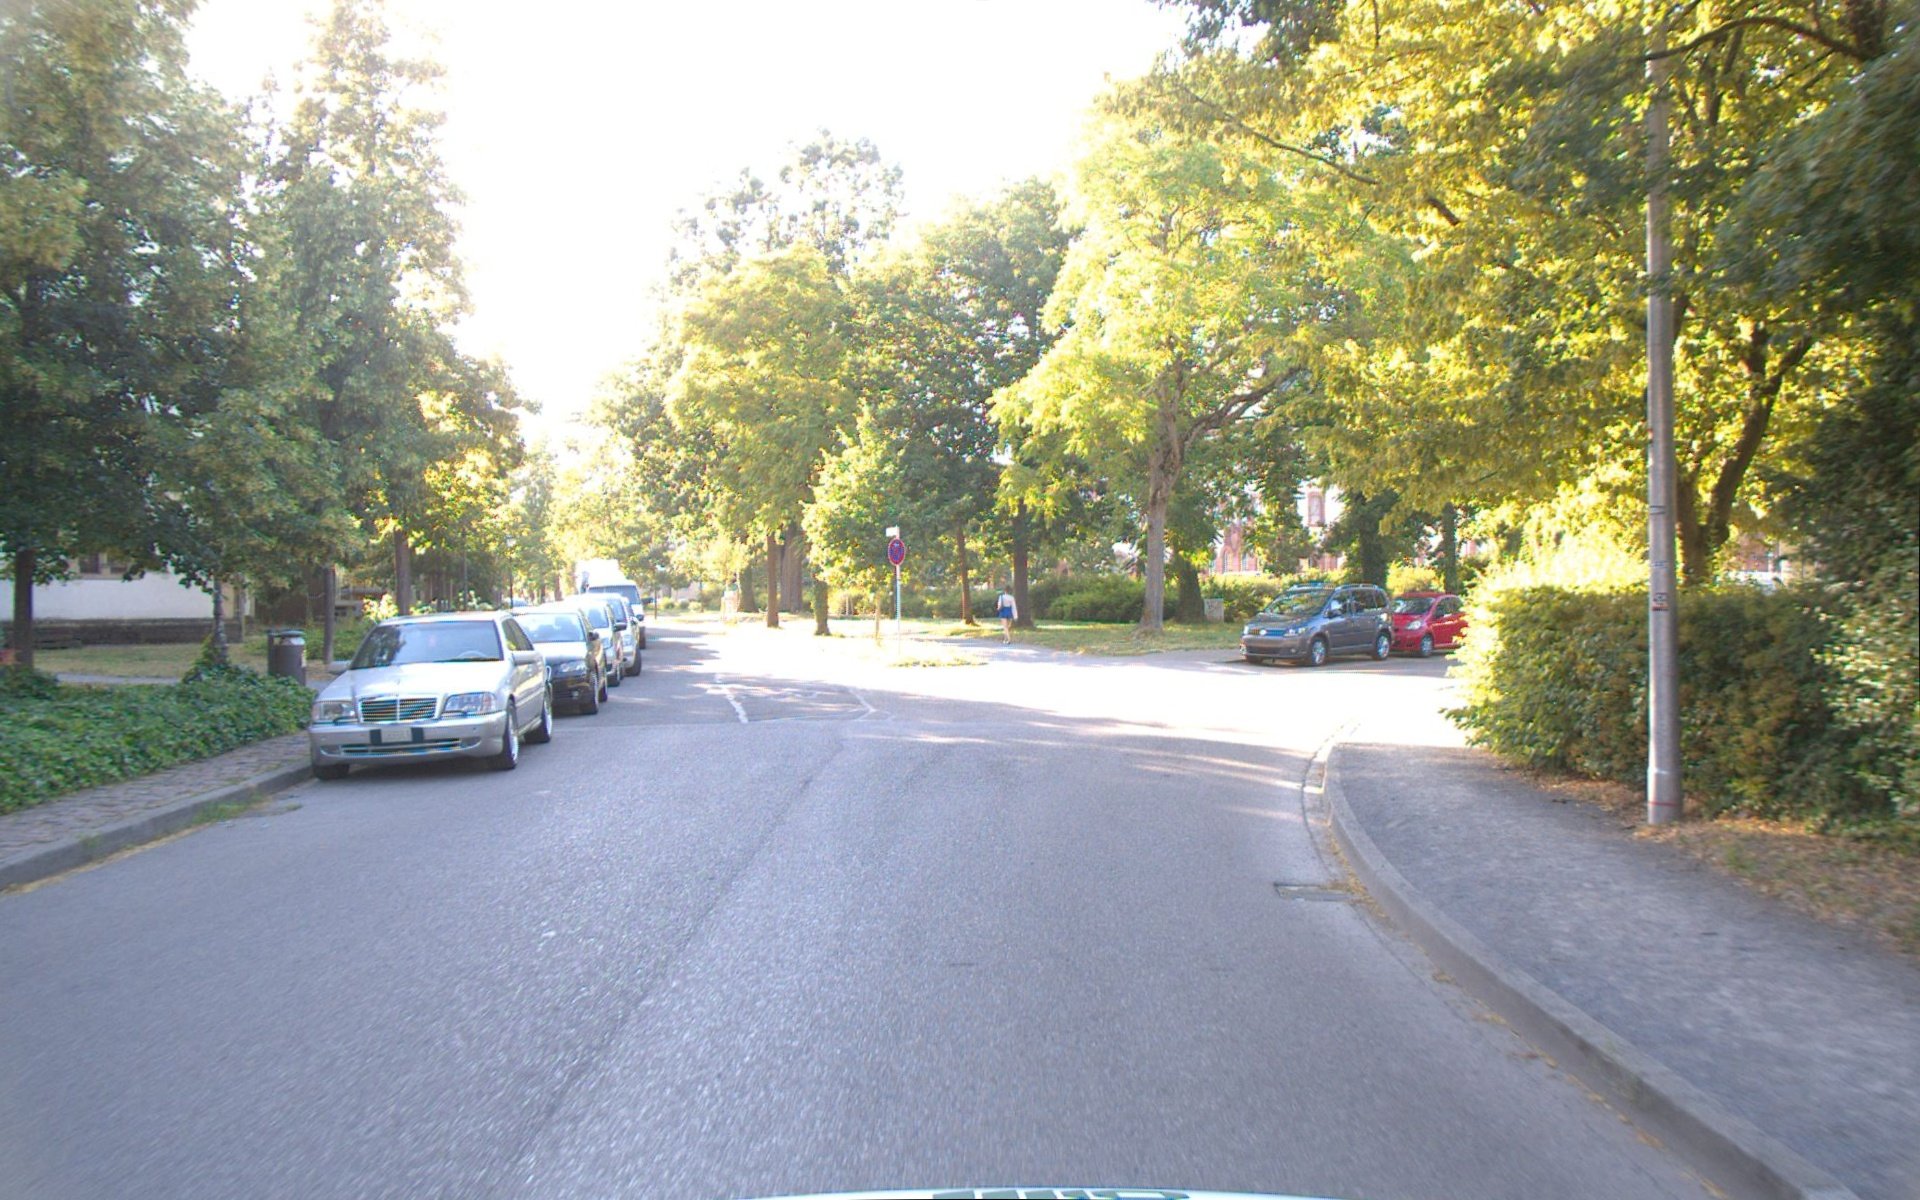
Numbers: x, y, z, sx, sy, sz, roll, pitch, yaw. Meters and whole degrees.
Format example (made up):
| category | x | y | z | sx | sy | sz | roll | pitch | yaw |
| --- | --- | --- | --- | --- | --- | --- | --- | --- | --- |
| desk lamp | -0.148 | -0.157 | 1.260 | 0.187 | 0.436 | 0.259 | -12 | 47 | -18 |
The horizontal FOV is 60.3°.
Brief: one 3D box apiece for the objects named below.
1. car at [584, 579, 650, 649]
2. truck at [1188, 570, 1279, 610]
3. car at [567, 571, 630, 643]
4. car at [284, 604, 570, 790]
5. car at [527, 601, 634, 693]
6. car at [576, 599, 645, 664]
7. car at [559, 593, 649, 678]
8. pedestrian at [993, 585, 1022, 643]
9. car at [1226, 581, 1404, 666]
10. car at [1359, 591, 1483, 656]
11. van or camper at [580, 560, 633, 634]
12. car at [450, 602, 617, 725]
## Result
| category | x | y | z | sx | sy | sz | roll | pitch | yaw |
| --- | --- | --- | --- | --- | --- | --- | --- | --- | --- |
| car | -10.264 | 0.379 | 49.764 | 1.818 | 1.980 | 4.828 | 0 | 0 | -11 |
| truck | 21.414 | -0.781 | 129.855 | 2.577 | 3.082 | 7.926 | 0 | 0 | -30 |
| car | -12.650 | 0.225 | 57.710 | 1.821 | 2.397 | 5.163 | 0 | 0 | -16 |
| car | -5.048 | 0.824 | 16.296 | 1.745 | 1.440 | 4.492 | -3 | 1 | -6 |
| car | -6.726 | 0.791 | 29.606 | 1.583 | 1.465 | 3.598 | -2 | 1 | -9 |
| car | -8.735 | 0.749 | 41.502 | 1.587 | 1.527 | 3.687 | 0 | 0 | -11 |
| car | -7.158 | 0.674 | 33.488 | 1.674 | 1.606 | 3.687 | 0 | 0 | -11 |
| pedestrian | 1.312 | 0.380 | 46.230 | 0.757 | 1.602 | 0.767 | -1 | 0 | -1 |
| car | 7.775 | 0.459 | 35.990 | 1.777 | 1.705 | 4.290 | 2 | 2 | 44 |
| car | 11.028 | 0.527 | 39.457 | 1.369 | 1.448 | 3.403 | 2 | 2 | 44 |
| van or camper | -14.901 | -0.136 | 69.455 | 2.054 | 2.958 | 6.310 | 0 | 0 | -13 |
| car | -5.859 | 0.804 | 23.199 | 1.791 | 1.440 | 4.485 | -3 | 1 | -9 |
